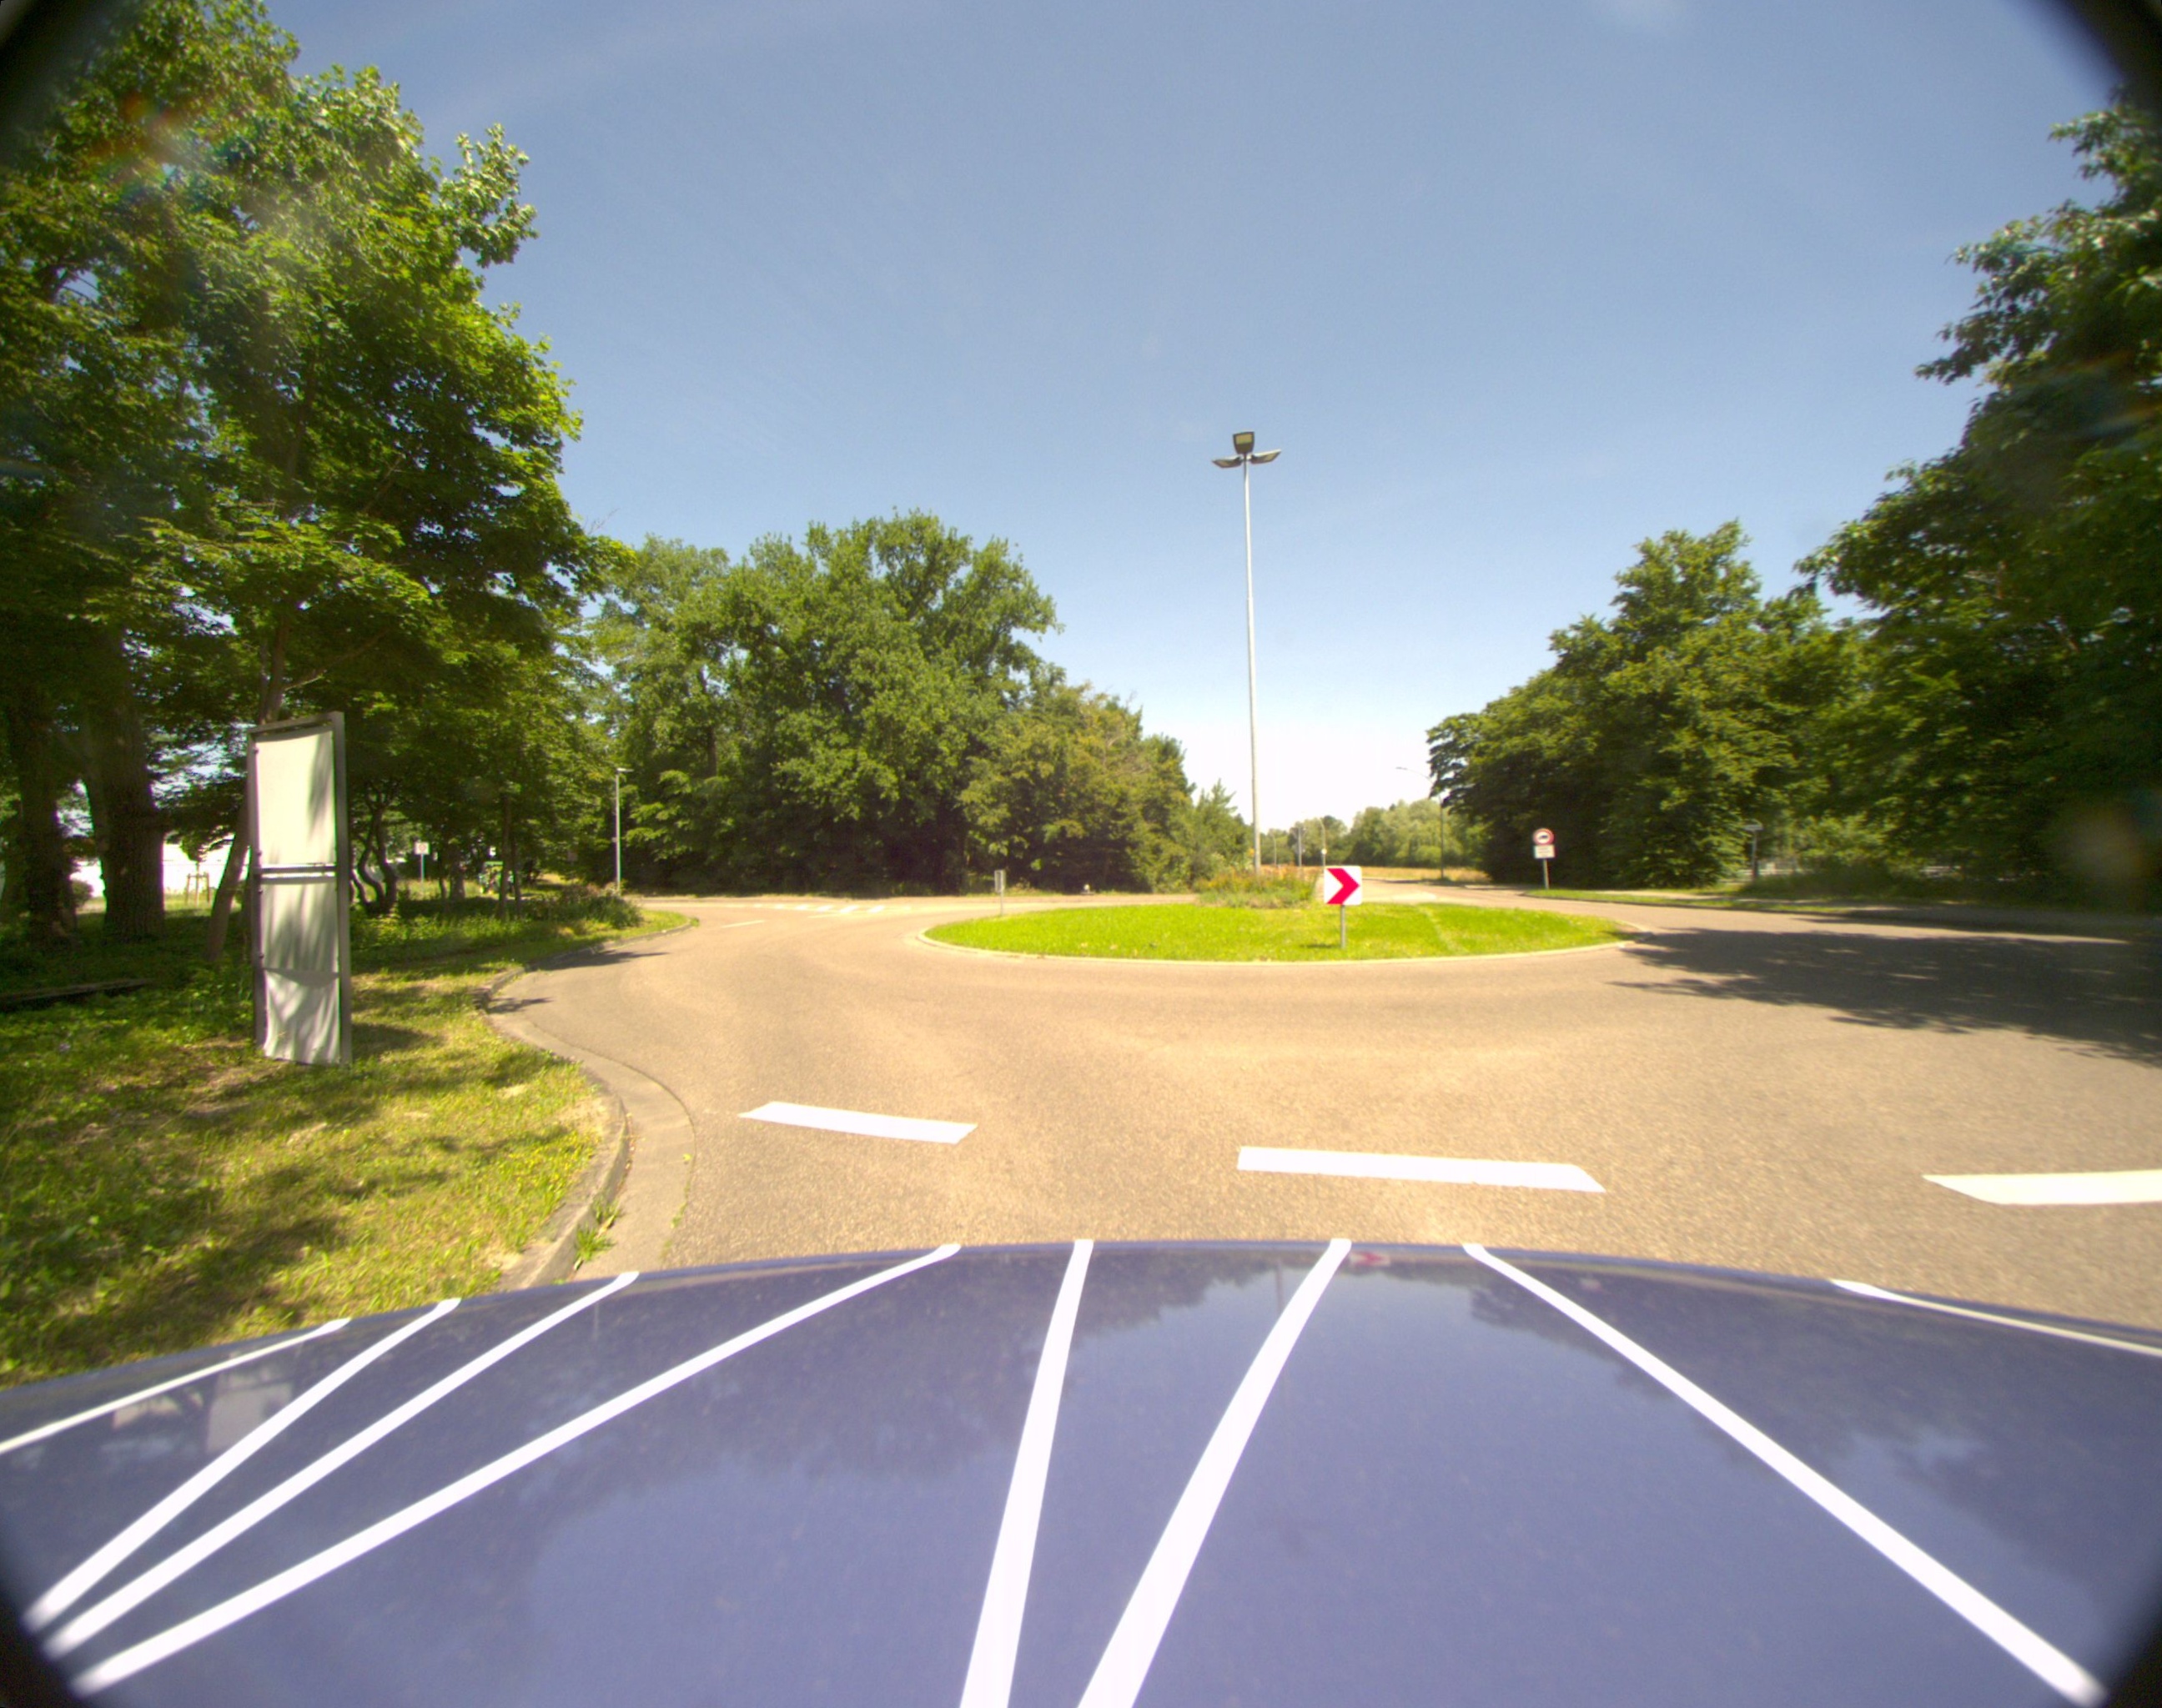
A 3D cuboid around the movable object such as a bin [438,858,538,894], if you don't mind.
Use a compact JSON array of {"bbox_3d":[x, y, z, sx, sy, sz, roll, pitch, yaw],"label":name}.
[{"bbox_3d":[-39.617,1.463,50.811,5.230,2.263,2.526,-1,-1,14],"label":"movable object such as a bin"}]
